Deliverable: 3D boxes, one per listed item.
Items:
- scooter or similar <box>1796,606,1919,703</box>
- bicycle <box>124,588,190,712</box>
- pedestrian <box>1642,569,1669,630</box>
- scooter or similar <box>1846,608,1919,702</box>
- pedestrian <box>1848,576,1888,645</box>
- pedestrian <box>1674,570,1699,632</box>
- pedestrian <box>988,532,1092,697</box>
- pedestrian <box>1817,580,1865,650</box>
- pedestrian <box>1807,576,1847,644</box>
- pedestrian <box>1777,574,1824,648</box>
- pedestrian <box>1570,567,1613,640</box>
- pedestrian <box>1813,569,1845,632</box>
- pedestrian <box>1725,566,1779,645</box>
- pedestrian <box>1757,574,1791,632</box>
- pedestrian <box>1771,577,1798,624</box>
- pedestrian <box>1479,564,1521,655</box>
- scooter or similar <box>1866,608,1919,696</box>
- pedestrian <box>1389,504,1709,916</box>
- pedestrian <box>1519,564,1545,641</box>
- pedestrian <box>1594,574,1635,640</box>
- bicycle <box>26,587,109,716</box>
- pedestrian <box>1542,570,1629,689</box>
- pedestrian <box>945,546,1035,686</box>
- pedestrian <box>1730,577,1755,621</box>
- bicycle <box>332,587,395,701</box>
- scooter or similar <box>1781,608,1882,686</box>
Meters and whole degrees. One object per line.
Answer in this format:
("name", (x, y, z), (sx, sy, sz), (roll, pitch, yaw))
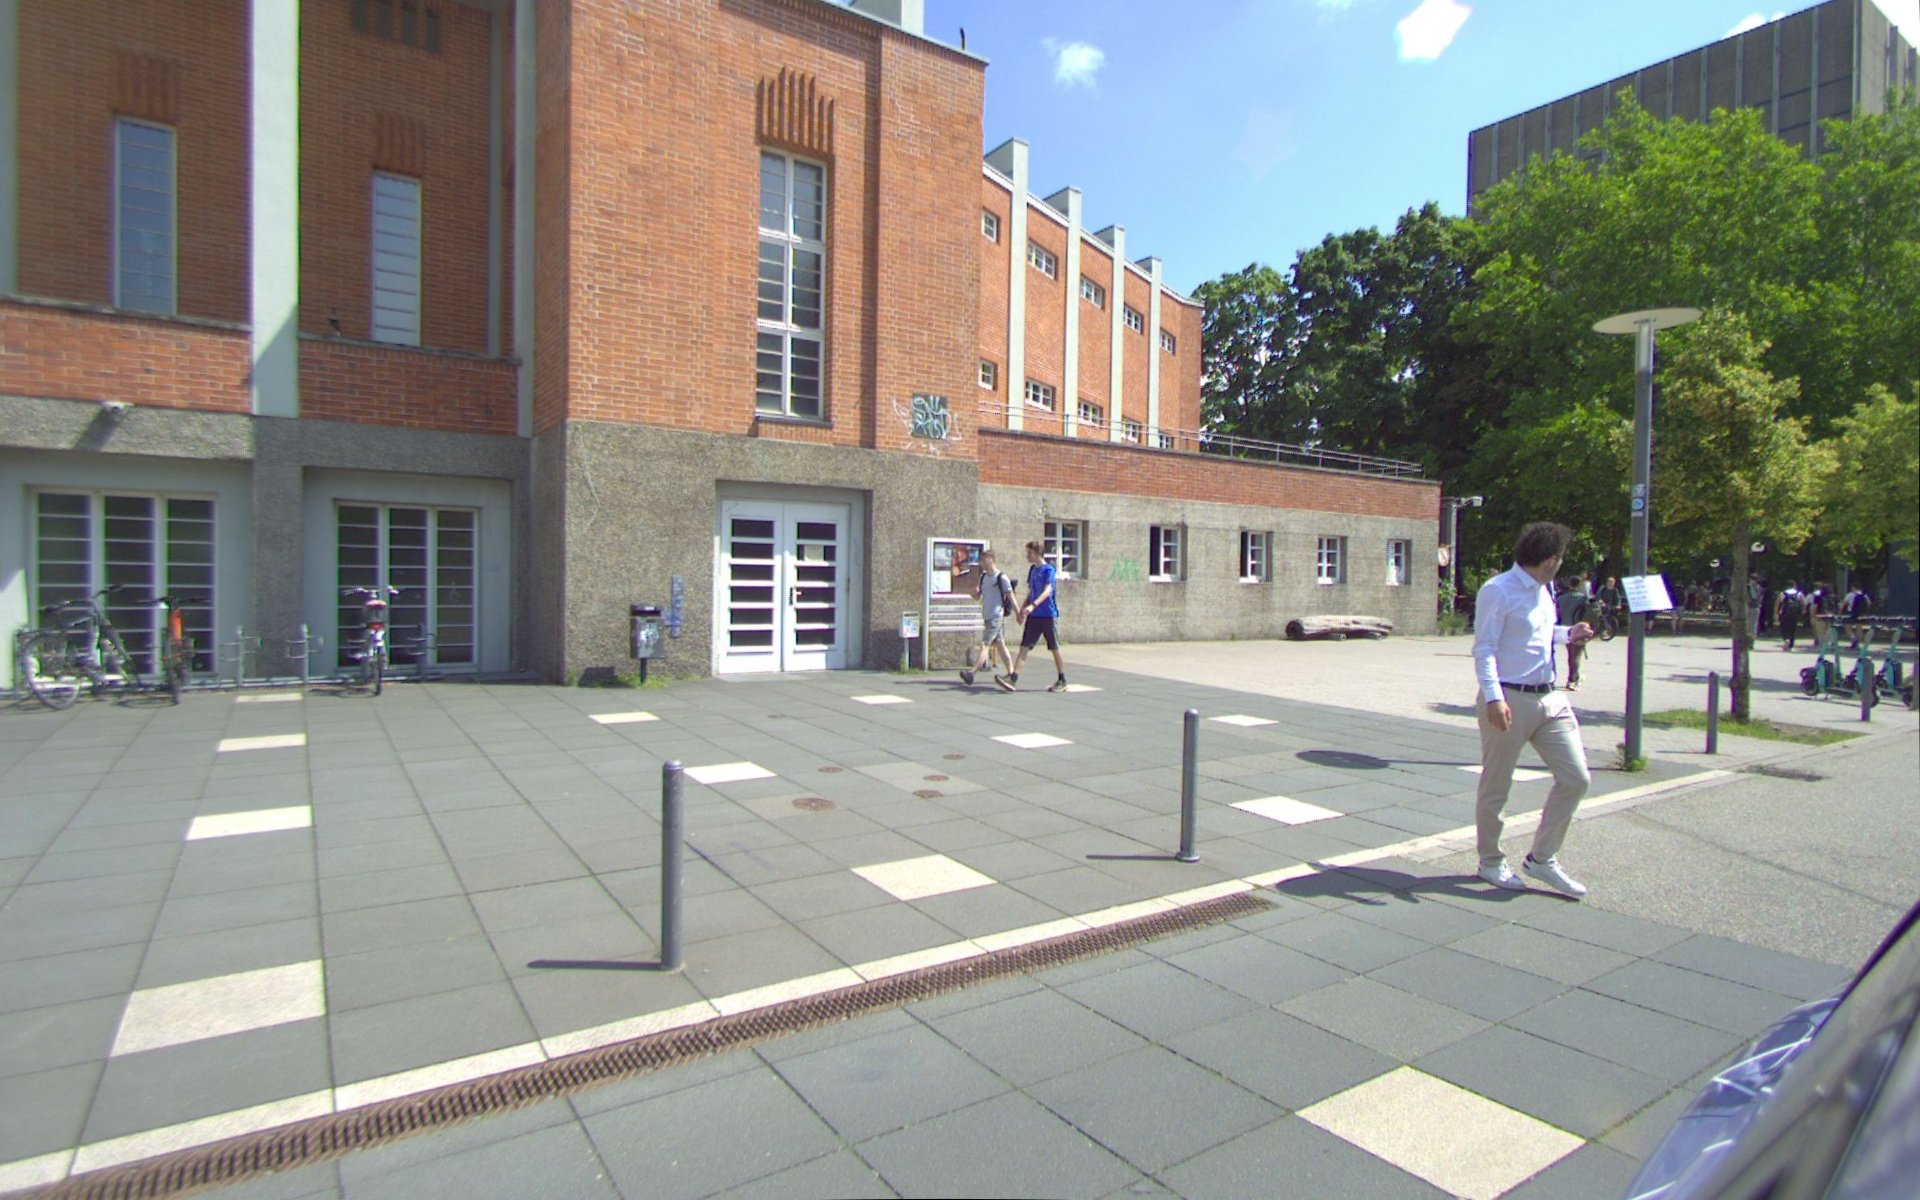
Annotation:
("scooter or similar", (12.729, 0.744, 14.367), (0.565, 1.245, 1.356), (2, 1, 0))
("bicycle", (-8.126, 0.461, 10.276), (0.427, 1.124, 1.700), (0, 2, -35))
("pedestrian", (21.110, -0.010, 30.706), (0.563, 1.816, 0.635), (2, 1, 40))
("scooter or similar", (13.504, 0.772, 14.500), (0.565, 1.259, 1.144), (2, 1, 0))
("pedestrian", (23.765, 0.271, 26.502), (0.618, 1.760, 0.766), (2, 1, 32))
("pedestrian", (21.766, 0.028, 30.324), (0.538, 1.816, 0.636), (2, 1, 36))
("pedestrian", (0.977, 0.141, 12.320), (1.090, 1.913, 0.666), (-1, 2, -39))
("pedestrian", (22.103, 0.355, 25.401), (0.745, 1.694, 0.836), (2, 1, 32))
("pedestrian", (23.094, 0.258, 26.961), (0.597, 1.774, 0.757), (2, 1, 28))
("pedestrian", (21.321, 0.260, 25.682), (0.776, 1.813, 0.707), (2, 1, 32))
("pedestrian", (16.921, 0.107, 27.137), (0.658, 1.911, 0.969), (1, -2, 10))
("pedestrian", (26.738, 0.000, 31.161), (0.635, 1.893, 0.531), (2, 1, 34))
("pedestrian", (20.475, 0.125, 26.192), (0.976, 1.970, 0.967), (2, 1, 34))
("pedestrian", (24.567, 0.075, 30.545), (0.634, 1.729, 0.708), (2, 1, 28))
("pedestrian", (29.660, -0.003, 36.412), (0.635, 1.659, 0.556), (2, 1, 35))
("pedestrian", (11.058, 0.172, 20.710), (0.584, 1.799, 0.788), (2, 2, 39))
("scooter or similar", (14.223, 0.772, 14.911), (0.565, 1.248, 1.265), (2, 1, 0))
("pedestrian", (2.904, 0.486, 5.132), (0.898, 1.870, 1.026), (2, 2, -4))
("pedestrian", (14.796, 0.070, 26.182), (0.561, 1.954, 0.880), (0, -2, 31))
("pedestrian", (18.234, 0.193, 28.201), (0.658, 1.788, 0.796), (1, 0, 10))
("bicycle", (-8.681, 0.450, 9.878), (0.427, 1.124, 1.656), (0, 2, -35))
("pedestrian", (9.363, 0.406, 15.143), (1.060, 1.696, 0.784), (-1, 2, -40))
("pedestrian", (0.386, 0.175, 12.964), (0.984, 1.727, 0.586), (-1, 2, -37))
("pedestrian", (28.598, -0.058, 36.987), (0.635, 1.577, 0.568), (2, 1, 32))
("bicycle", (-6.669, 0.441, 11.285), (0.448, 1.124, 1.936), (0, 2, -35))
("scooter or similar", (14.051, 0.749, 16.312), (1.446, 1.194, 0.577), (1, 1, -21))
